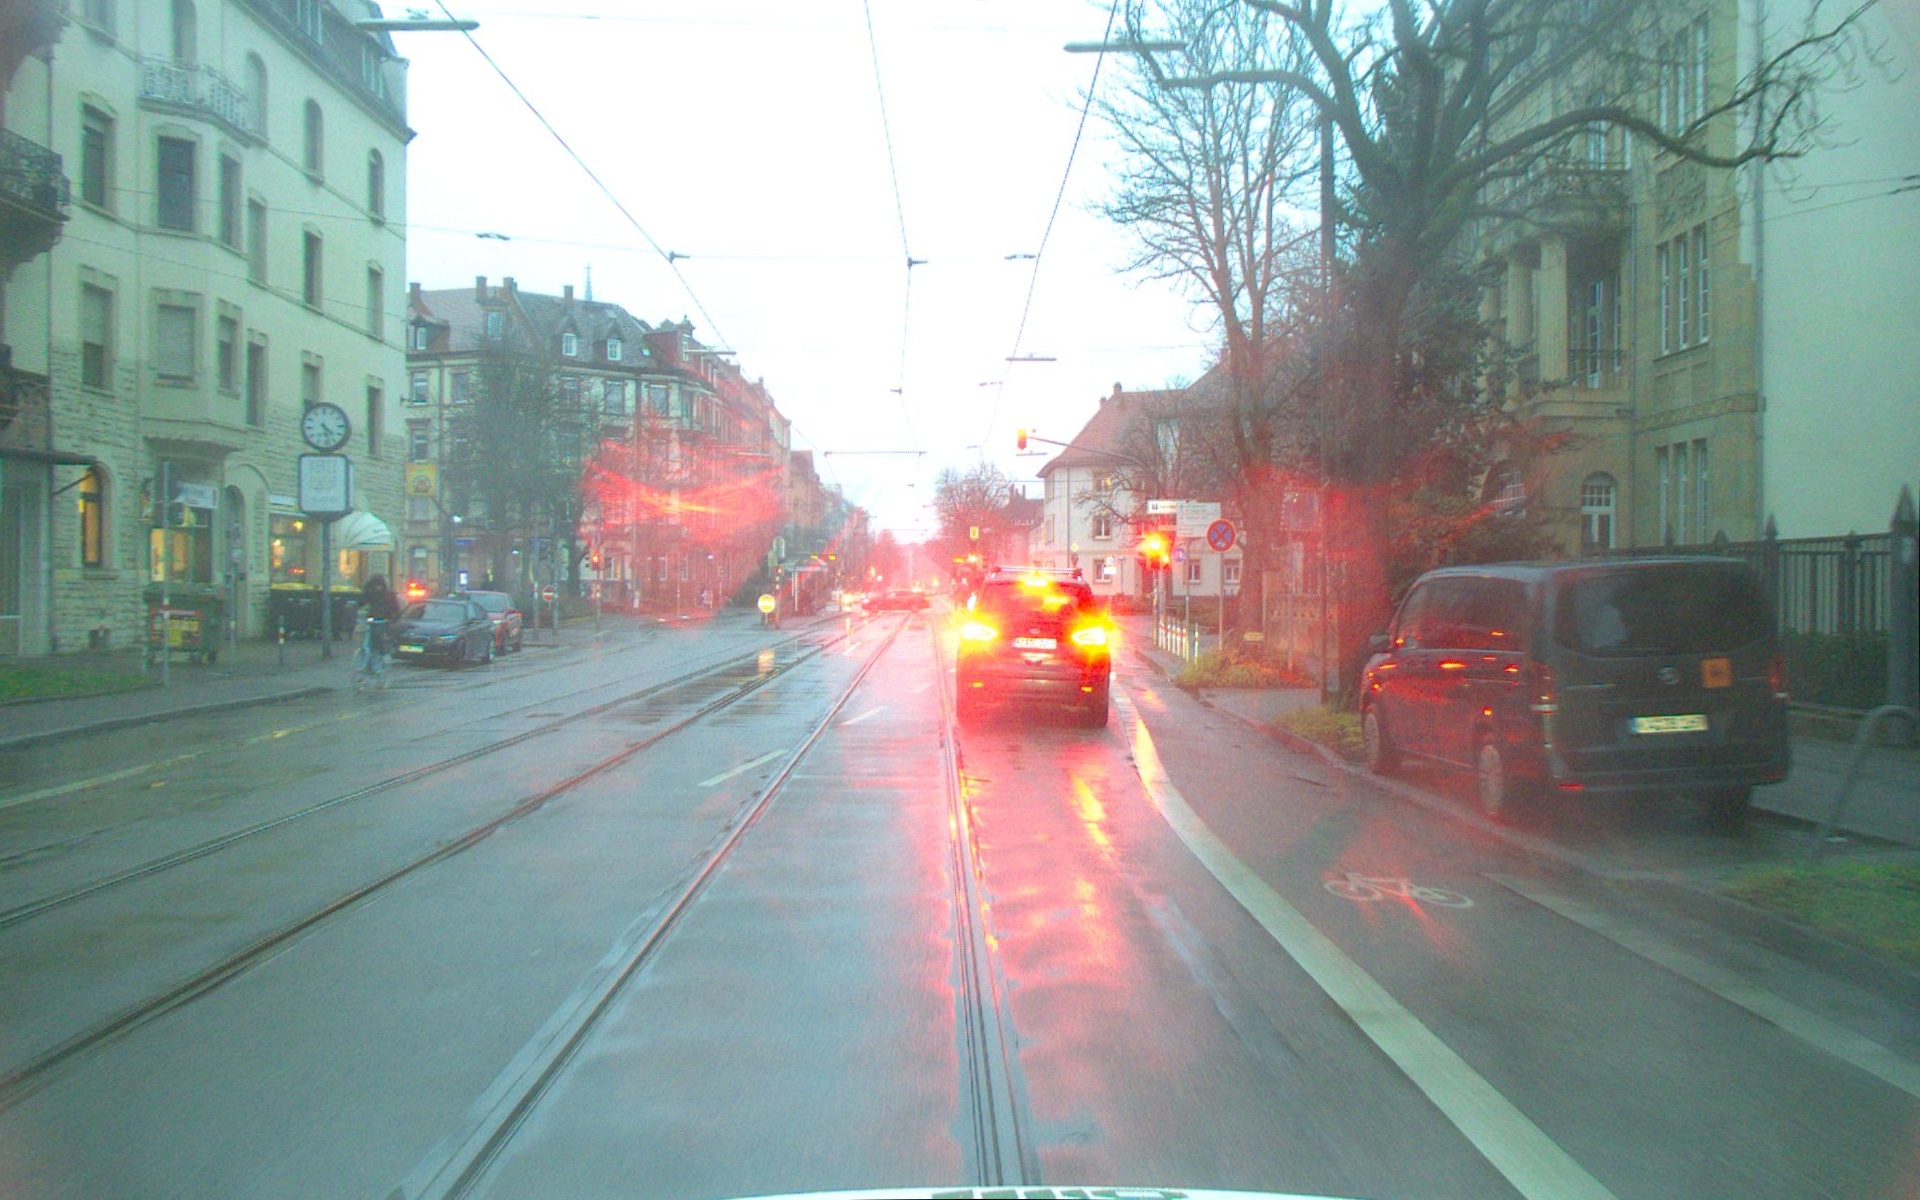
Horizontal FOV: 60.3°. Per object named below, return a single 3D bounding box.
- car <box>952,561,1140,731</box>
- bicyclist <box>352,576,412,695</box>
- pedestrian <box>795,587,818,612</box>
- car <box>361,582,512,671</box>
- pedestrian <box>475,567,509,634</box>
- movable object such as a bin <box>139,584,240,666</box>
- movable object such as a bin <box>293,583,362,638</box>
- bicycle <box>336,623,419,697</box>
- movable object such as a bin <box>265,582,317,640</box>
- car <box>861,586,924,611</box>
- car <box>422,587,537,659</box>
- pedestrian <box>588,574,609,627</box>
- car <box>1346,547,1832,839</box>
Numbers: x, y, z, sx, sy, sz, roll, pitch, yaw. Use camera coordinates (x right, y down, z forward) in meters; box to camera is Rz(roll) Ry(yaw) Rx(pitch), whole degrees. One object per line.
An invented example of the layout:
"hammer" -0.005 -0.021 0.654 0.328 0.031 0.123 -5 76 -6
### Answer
"car" 1.031 0.499 21.034 2.060 1.848 4.661 2 0 1
"bicyclist" -9.382 0.563 26.866 0.610 1.909 0.991 0 0 1
"pedestrian" -7.626 -0.040 82.248 1.026 1.221 0.885 1 0 0
"car" -11.436 0.568 36.477 1.947 1.674 4.628 5 -1 -3
"pedestrian" -14.465 0.016 51.112 0.743 2.049 0.645 1 -1 35
"movable object such as a bin" -14.055 0.440 30.198 1.241 1.445 1.250 1 0 0
"movable object such as a bin" -16.221 0.256 42.453 1.267 1.391 1.252 1 0 -1
"bicycle" -9.378 0.943 26.700 0.610 1.112 1.948 0 0 1
"movable object such as a bin" -16.635 0.267 41.134 0.880 1.401 1.006 1 0 -1
"car" -4.399 -0.089 107.893 3.930 1.623 1.705 0 0 -9
"car" -12.185 0.550 42.183 1.998 1.578 4.027 4 1 -6
"pedestrian" -14.116 0.010 64.559 0.694 2.049 0.657 0 0 -20
"car" 4.740 0.593 13.407 1.989 1.908 4.963 0 0 -1
